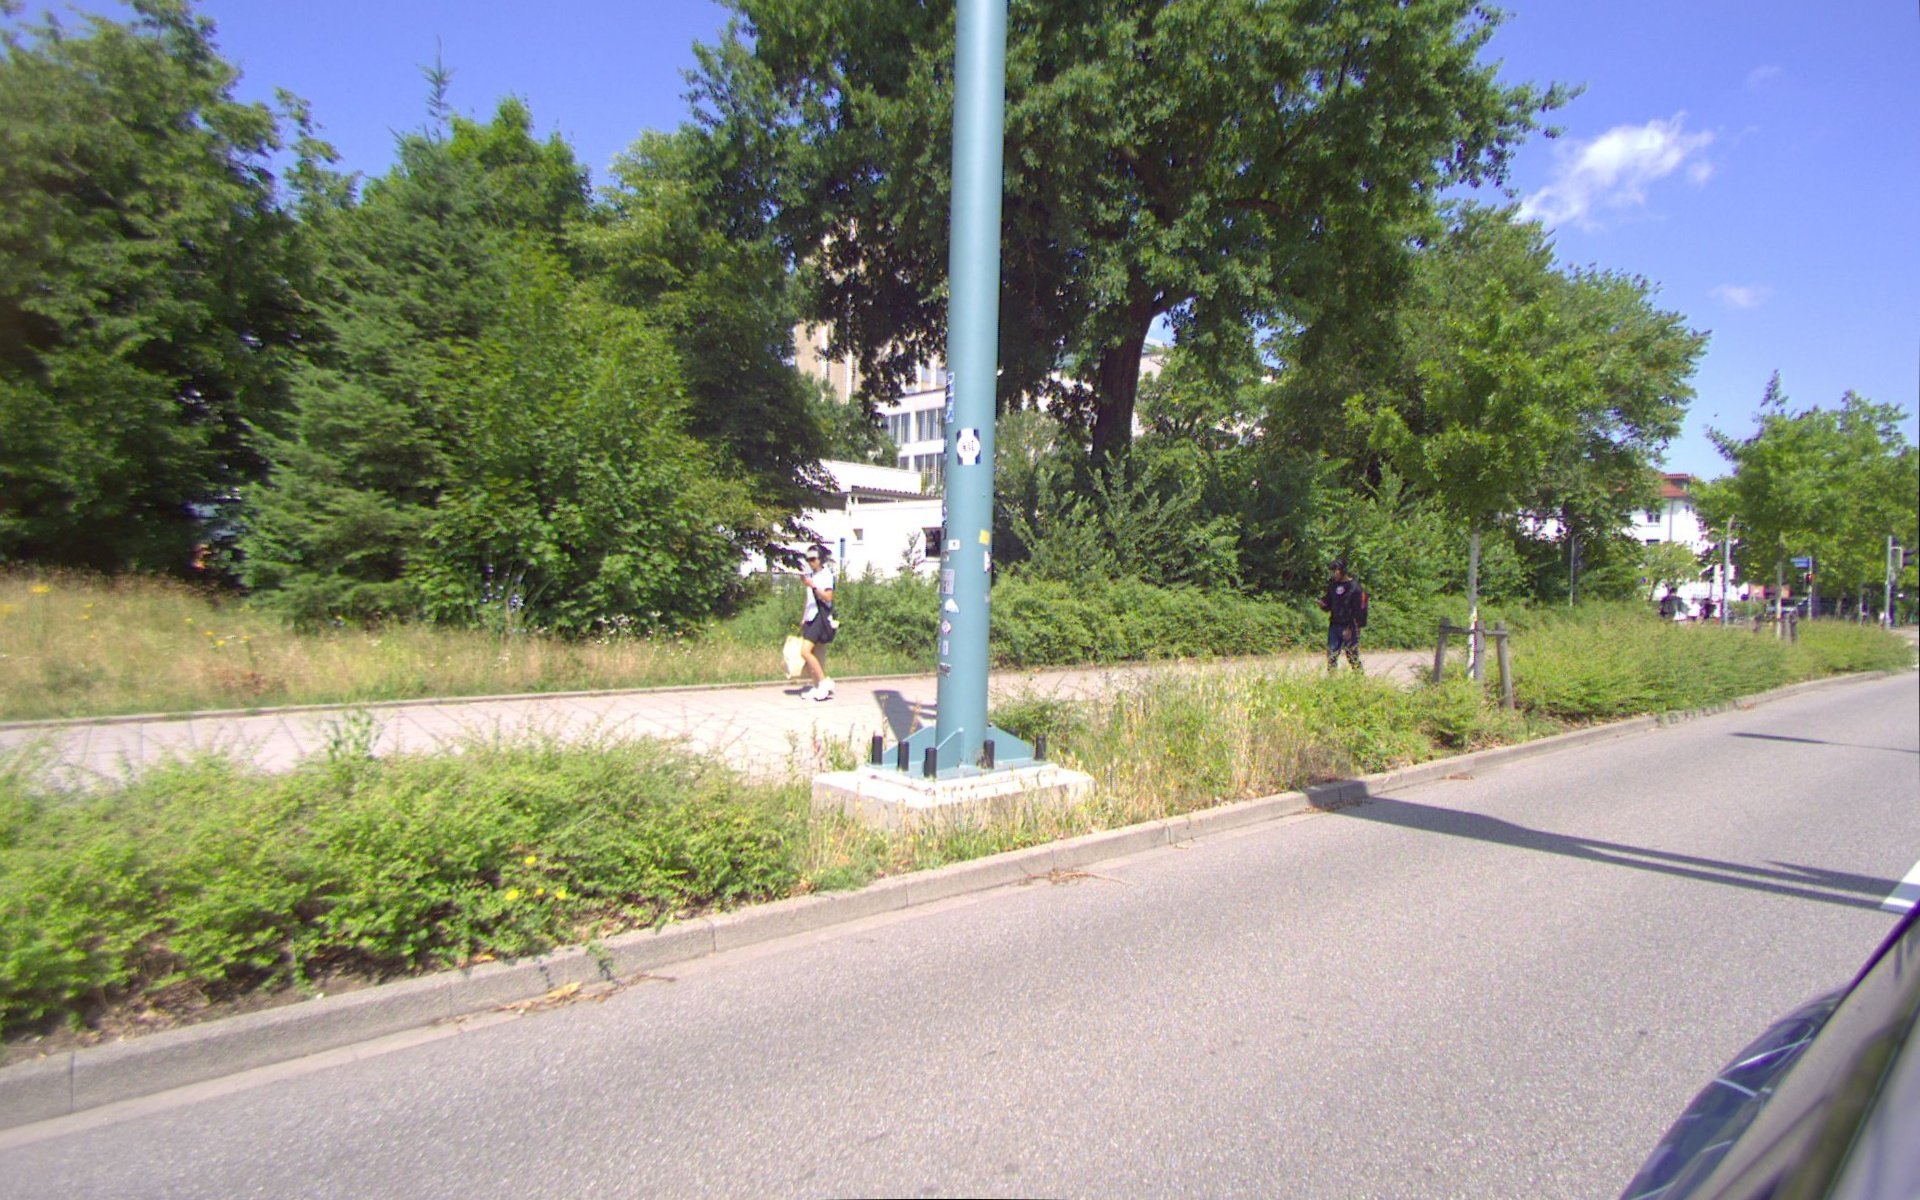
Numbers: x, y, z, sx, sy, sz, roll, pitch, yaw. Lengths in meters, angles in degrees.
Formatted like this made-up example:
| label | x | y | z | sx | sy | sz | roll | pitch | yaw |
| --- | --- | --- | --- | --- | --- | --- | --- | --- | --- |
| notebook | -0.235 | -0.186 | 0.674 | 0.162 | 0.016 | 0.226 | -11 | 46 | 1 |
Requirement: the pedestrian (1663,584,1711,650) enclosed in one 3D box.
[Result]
| label | x | y | z | sx | sy | sz | roll | pitch | yaw |
| --- | --- | --- | --- | --- | --- | --- | --- | --- | --- |
| pedestrian | 19.781 | 0.437 | 27.543 | 0.913 | 1.743 | 0.815 | 1 | 1 | -39 |

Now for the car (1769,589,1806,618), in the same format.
| label | x | y | z | sx | sy | sz | roll | pitch | yaw |
| --- | --- | --- | --- | --- | --- | --- | --- | --- | --- |
| car | 61.887 | 0.247 | 75.642 | 1.992 | 2.080 | 4.166 | 2 | 1 | 41 |

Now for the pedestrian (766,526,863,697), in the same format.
| label | x | y | z | sx | sy | sz | roll | pitch | yaw |
| --- | --- | --- | --- | --- | --- | --- | --- | --- | --- |
| pedestrian | -1.559 | 0.108 | 10.808 | 0.733 | 1.743 | 0.724 | 1 | 1 | -39 |

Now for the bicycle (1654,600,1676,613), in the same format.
| label | x | y | z | sx | sy | sz | roll | pitch | yaw |
| --- | --- | --- | --- | --- | --- | --- | --- | --- | --- |
| bicycle | 56.796 | 0.505 | 81.534 | 1.424 | 0.963 | 0.346 | 2 | 1 | 44 |

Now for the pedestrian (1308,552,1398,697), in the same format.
| label | x | y | z | sx | sy | sz | roll | pitch | yaw |
| --- | --- | --- | --- | --- | --- | --- | --- | --- | --- |
| pedestrian | 4.931 | 0.291 | 12.706 | 0.822 | 1.743 | 0.718 | 1 | 1 | -39 |

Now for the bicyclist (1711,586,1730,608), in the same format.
| label | x | y | z | sx | sy | sz | roll | pitch | yaw |
| --- | --- | --- | --- | --- | --- | --- | --- | --- | --- |
| bicyclist | 50.417 | -0.197 | 67.120 | 0.966 | 1.462 | 1.063 | 1 | 1 | 36 |

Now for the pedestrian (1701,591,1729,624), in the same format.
| label | x | y | z | sx | sy | sz | roll | pitch | yaw |
| --- | --- | --- | --- | --- | --- | --- | --- | --- | --- |
| pedestrian | 45.657 | 0.433 | 61.217 | 0.952 | 1.950 | 1.033 | 1 | 1 | -31 |

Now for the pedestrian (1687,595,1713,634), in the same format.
| label | x | y | z | sx | sy | sz | roll | pitch | yaw |
| --- | --- | --- | --- | --- | --- | --- | --- | --- | --- |
| pedestrian | 37.099 | 0.724 | 50.737 | 0.956 | 1.896 | 0.876 | 1 | 1 | -45 |

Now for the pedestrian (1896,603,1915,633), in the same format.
| label | x | y | z | sx | sy | sz | roll | pitch | yaw |
| --- | --- | --- | --- | --- | --- | --- | --- | --- | --- |
| pedestrian | 48.083 | 0.905 | 51.474 | 0.586 | 1.523 | 0.412 | 1 | 0 | 31 |

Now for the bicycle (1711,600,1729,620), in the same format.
| label | x | y | z | sx | sy | sz | roll | pitch | yaw |
| --- | --- | --- | --- | --- | --- | --- | --- | --- | --- |
| bicycle | 50.550 | 0.641 | 67.359 | 0.880 | 1.267 | 2.138 | 1 | 1 | 35 |
